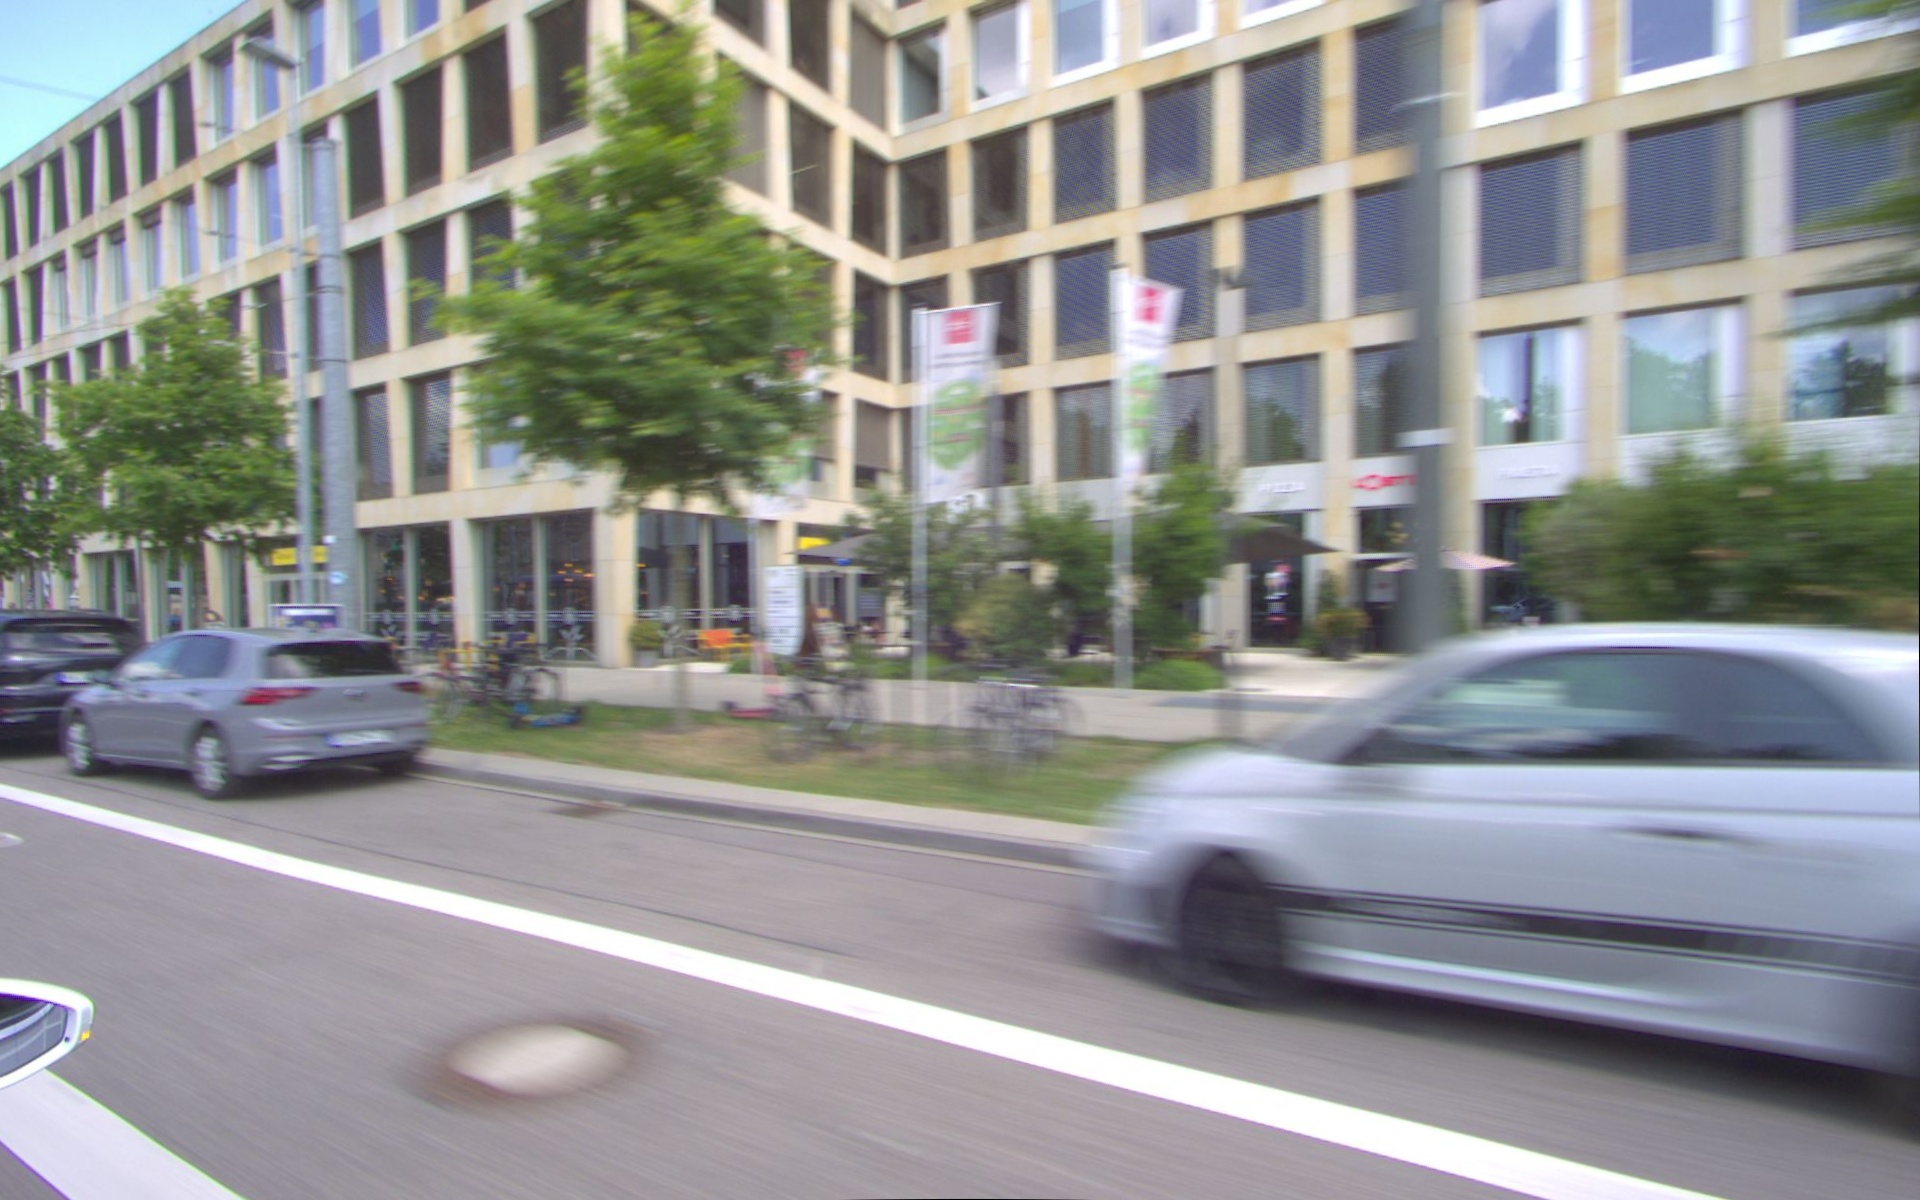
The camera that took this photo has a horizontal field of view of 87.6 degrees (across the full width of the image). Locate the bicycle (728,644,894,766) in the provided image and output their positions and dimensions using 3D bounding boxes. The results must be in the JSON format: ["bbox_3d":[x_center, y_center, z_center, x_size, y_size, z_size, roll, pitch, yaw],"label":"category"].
[{"bbox_3d":[-1.540,1.061,10.668,0.677,1.090,1.818,0,1,35],"label":"bicycle"}]

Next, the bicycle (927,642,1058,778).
[{"bbox_3d":[0.349,0.982,9.431,0.271,1.090,1.818,0,1,35],"label":"bicycle"}]

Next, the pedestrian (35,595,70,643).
[{"bbox_3d":[-32.357,0.679,35.706,0.649,1.693,0.758,0,1,31],"label":"pedestrian"}]

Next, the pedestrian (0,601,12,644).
[{"bbox_3d":[-33.052,0.778,34.522,0.427,1.468,0.438,0,1,31],"label":"pedestrian"}]

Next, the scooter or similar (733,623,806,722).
[{"bbox_3d":[-2.463,0.917,12.937,1.000,1.232,0.258,0,1,31],"label":"scooter or similar"}]

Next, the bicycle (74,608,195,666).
[{"bbox_3d":[-16.654,0.715,20.258,0.335,1.044,1.835,0,2,30],"label":"bicycle"}]

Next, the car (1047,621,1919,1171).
[{"bbox_3d":[2.292,0.850,3.967,3.561,1.479,1.588,0,0,33],"label":"car"}]

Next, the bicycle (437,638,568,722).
[{"bbox_3d":[-6.282,1.071,13.848,0.321,0.999,1.749,0,1,31],"label":"bicycle"}]

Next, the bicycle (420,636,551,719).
[{"bbox_3d":[-6.587,1.055,13.994,0.321,0.999,1.749,0,1,31],"label":"bicycle"}]

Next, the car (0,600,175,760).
[{"bbox_3d":[-11.853,0.851,12.385,4.768,1.691,1.736,0,-1,30],"label":"car"}]

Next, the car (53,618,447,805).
[{"bbox_3d":[-6.967,0.932,9.733,4.045,1.453,1.589,0,-1,30],"label":"car"}]

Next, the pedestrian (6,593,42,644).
[{"bbox_3d":[-32.750,0.632,35.046,0.649,1.747,0.758,0,1,31],"label":"pedestrian"}]

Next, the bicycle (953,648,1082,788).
[{"bbox_3d":[0.578,1.039,9.272,0.271,1.090,1.818,0,1,35],"label":"bicycle"}]

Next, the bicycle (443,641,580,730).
[{"bbox_3d":[-5.835,1.083,13.121,0.321,0.999,1.749,0,1,31],"label":"bicycle"}]

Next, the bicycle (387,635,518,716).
[{"bbox_3d":[-7.206,1.051,14.318,0.321,0.999,1.749,0,1,31],"label":"bicycle"}]

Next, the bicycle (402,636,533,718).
[{"bbox_3d":[-6.913,1.060,14.139,0.321,0.999,1.749,0,1,31],"label":"bicycle"}]
